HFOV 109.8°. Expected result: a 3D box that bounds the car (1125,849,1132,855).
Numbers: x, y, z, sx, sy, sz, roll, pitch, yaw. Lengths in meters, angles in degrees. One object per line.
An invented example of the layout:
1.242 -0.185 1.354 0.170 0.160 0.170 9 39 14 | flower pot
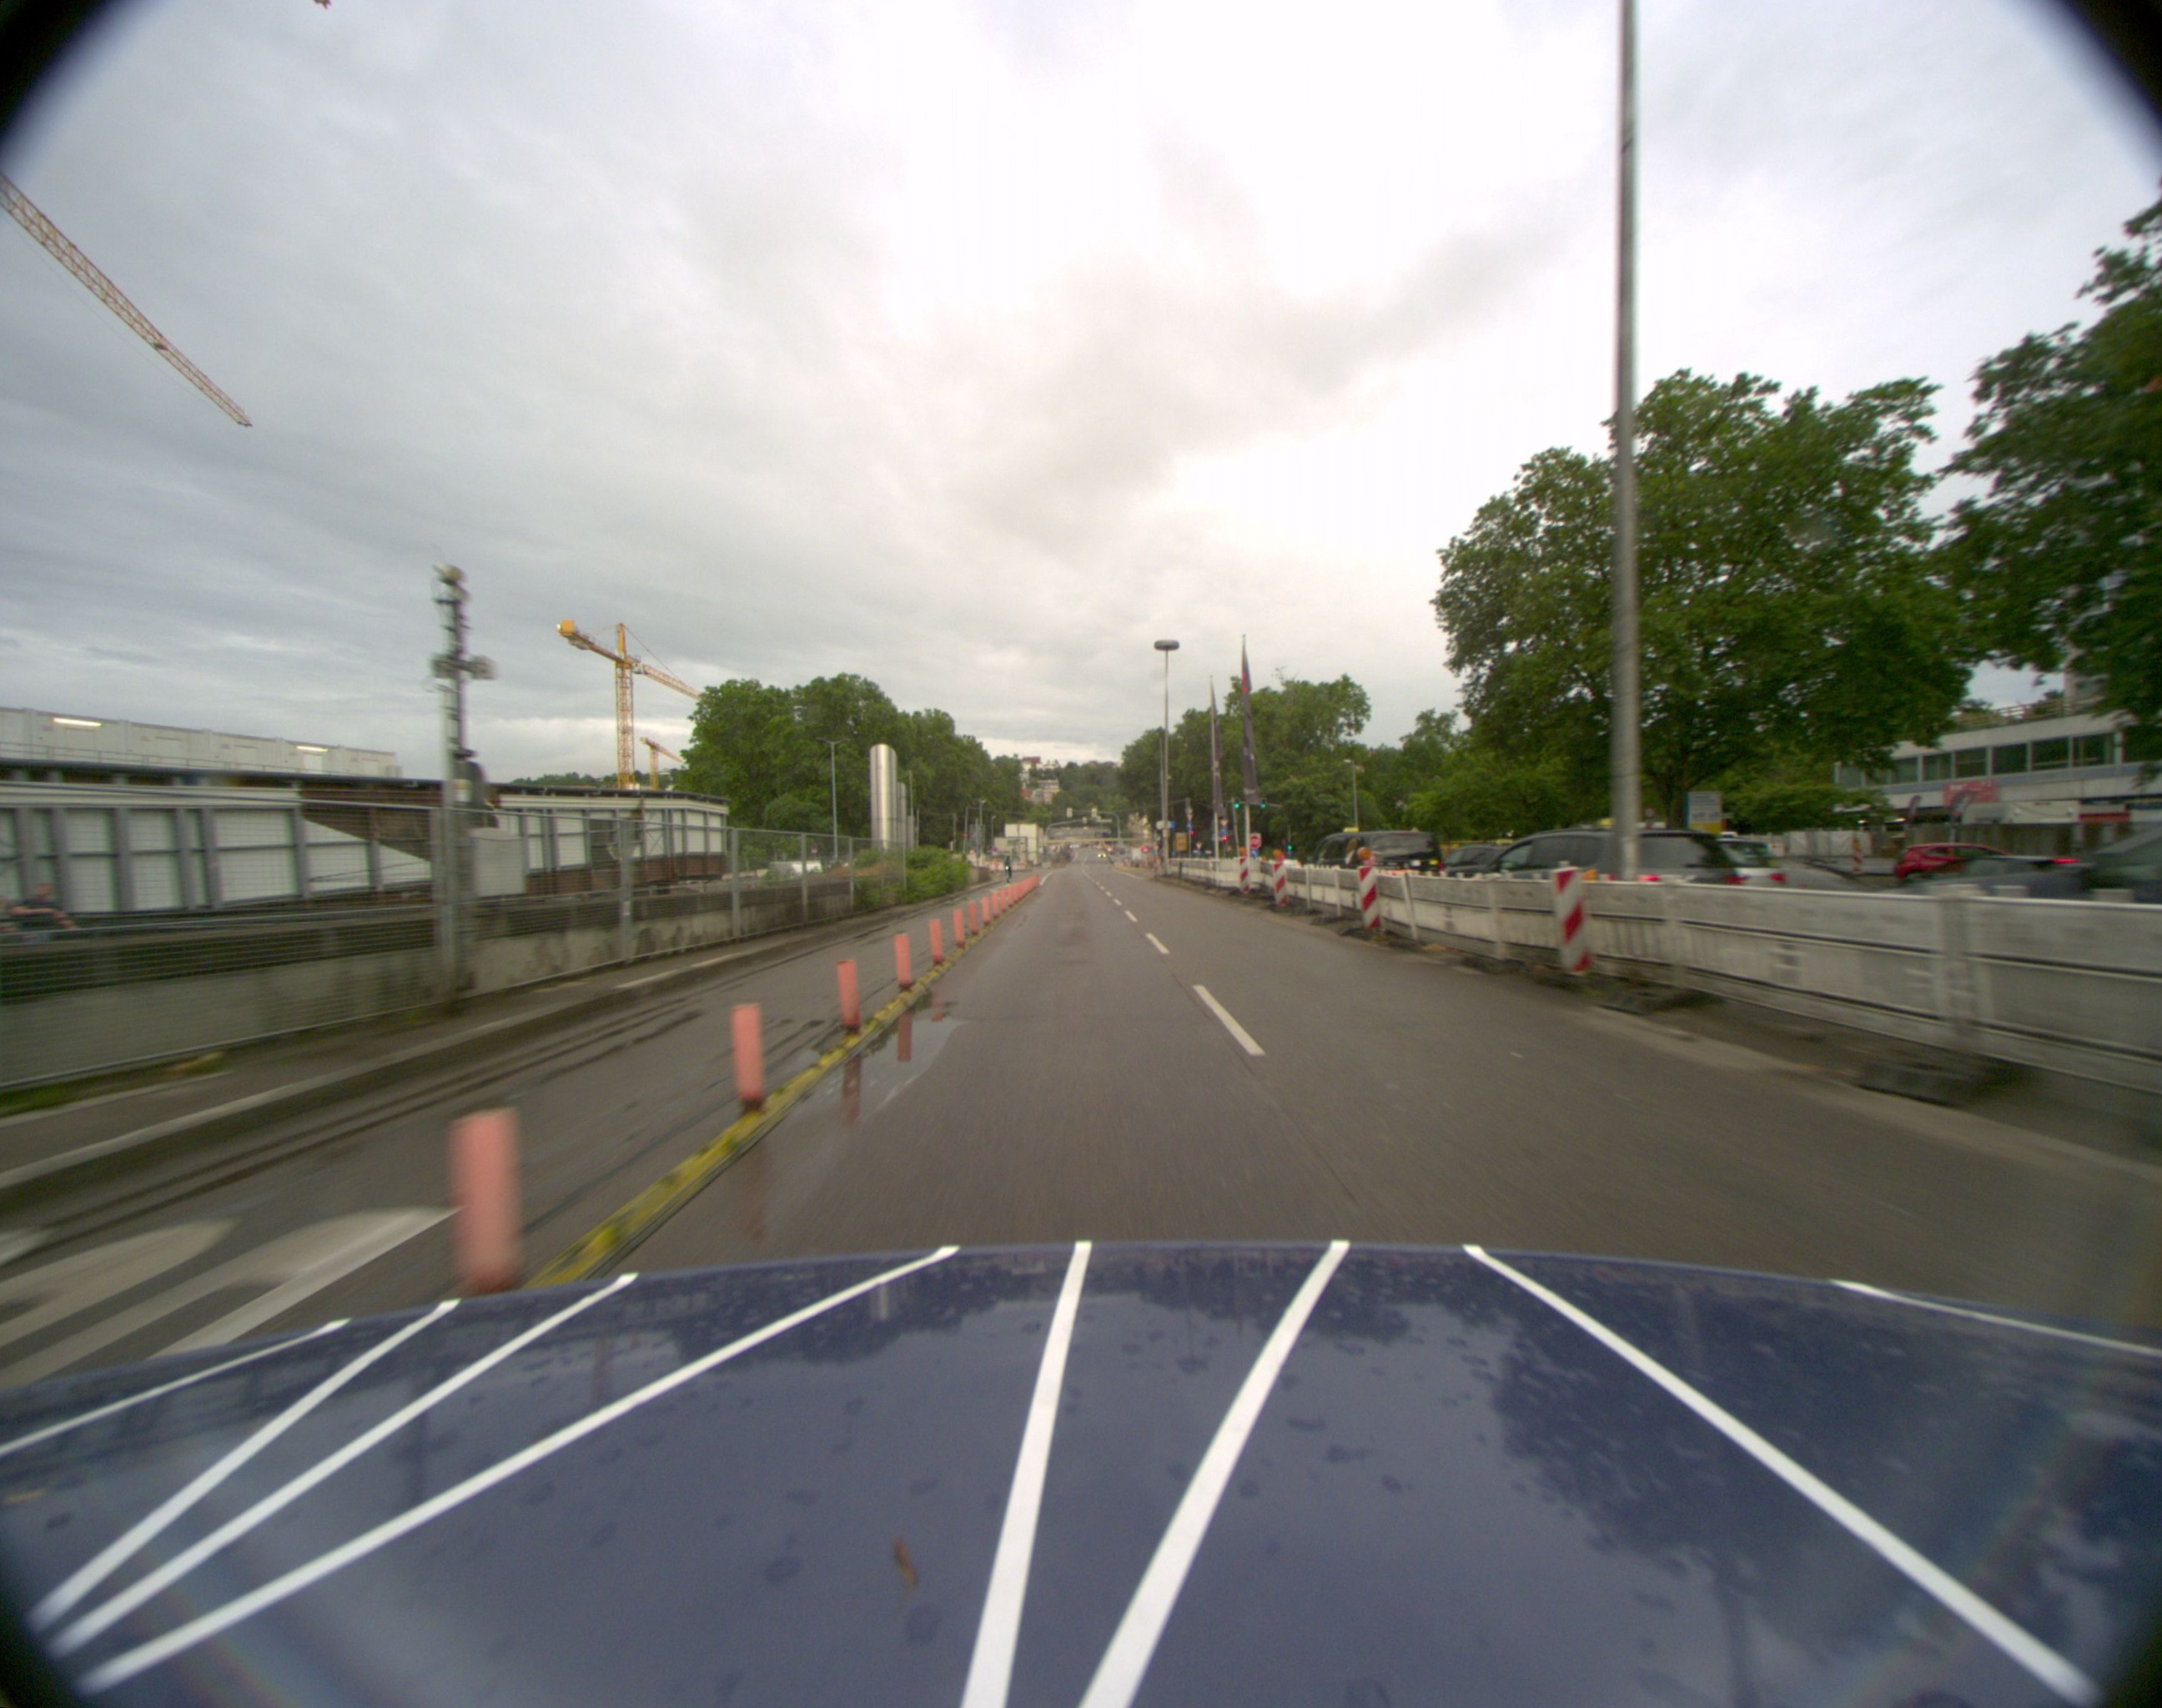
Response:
16.093 -0.706 256.338 1.998 2.001 4.001 -3 -2 0 | car

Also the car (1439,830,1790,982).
7.358 0.648 11.280 1.998 1.760 4.812 -1 -1 3 | car

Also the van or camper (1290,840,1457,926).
7.032 0.638 19.029 1.950 1.809 5.391 1 0 -2 | van or camper

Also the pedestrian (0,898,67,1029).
-17.235 1.744 12.175 0.780 2.002 0.765 -3 1 -2 | pedestrian

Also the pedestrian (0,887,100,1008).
-18.196 1.613 13.307 0.867 2.002 0.765 -3 1 -2 | pedestrian

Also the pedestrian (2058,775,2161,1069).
7.776 0.456 5.284 0.878 2.002 0.821 -2 0 -1 | pedestrian

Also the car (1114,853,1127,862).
7.636 0.653 147.867 1.664 1.533 4.156 -2 -2 -10 | car

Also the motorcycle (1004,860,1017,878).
-4.890 1.031 52.928 0.730 1.221 2.161 0 -1 -1 | motorcycle

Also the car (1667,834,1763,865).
44.953 -0.302 53.989 2.039 2.002 4.823 -2 0 -31 | car

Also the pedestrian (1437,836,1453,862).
25.169 -0.349 52.545 0.558 1.714 0.951 -2 -3 -1 | pedestrian

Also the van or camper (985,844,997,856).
-16.537 -0.659 139.313 2.123 2.016 5.011 0 -1 -6 | van or camper

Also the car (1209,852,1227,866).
15.544 0.627 86.222 1.681 1.533 3.175 -1 -1 6 | car

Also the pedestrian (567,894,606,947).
-17.952 2.389 27.591 0.673 1.821 1.014 -2 1 -1 | pedestrian

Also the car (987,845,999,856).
-16.797 -0.698 144.537 1.999 2.054 4.189 0 -1 -4 | car

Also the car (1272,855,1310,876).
17.748 0.943 64.461 1.998 1.622 4.820 -3 -1 3 | car

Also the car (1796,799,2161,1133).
6.815 0.590 3.862 1.998 1.806 4.812 -1 -1 3 | car

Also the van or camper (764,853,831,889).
-19.951 1.223 53.249 2.391 2.387 6.047 0 -2 -41 | van or camper

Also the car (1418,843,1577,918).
10.475 0.631 19.531 1.894 1.692 4.302 -1 -1 3 | car

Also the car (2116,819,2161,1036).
10.050 0.596 4.417 1.919 1.840 4.567 0 0 2 | car

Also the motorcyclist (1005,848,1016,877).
-4.889 0.608 52.818 0.726 2.024 0.587 0 -1 -1 | motorcyclist

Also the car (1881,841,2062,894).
30.200 0.489 25.967 3.735 1.534 1.855 -4 1 42 | car

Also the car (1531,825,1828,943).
10.370 0.484 13.721 1.895 1.692 4.423 -3 -1 2 | car
